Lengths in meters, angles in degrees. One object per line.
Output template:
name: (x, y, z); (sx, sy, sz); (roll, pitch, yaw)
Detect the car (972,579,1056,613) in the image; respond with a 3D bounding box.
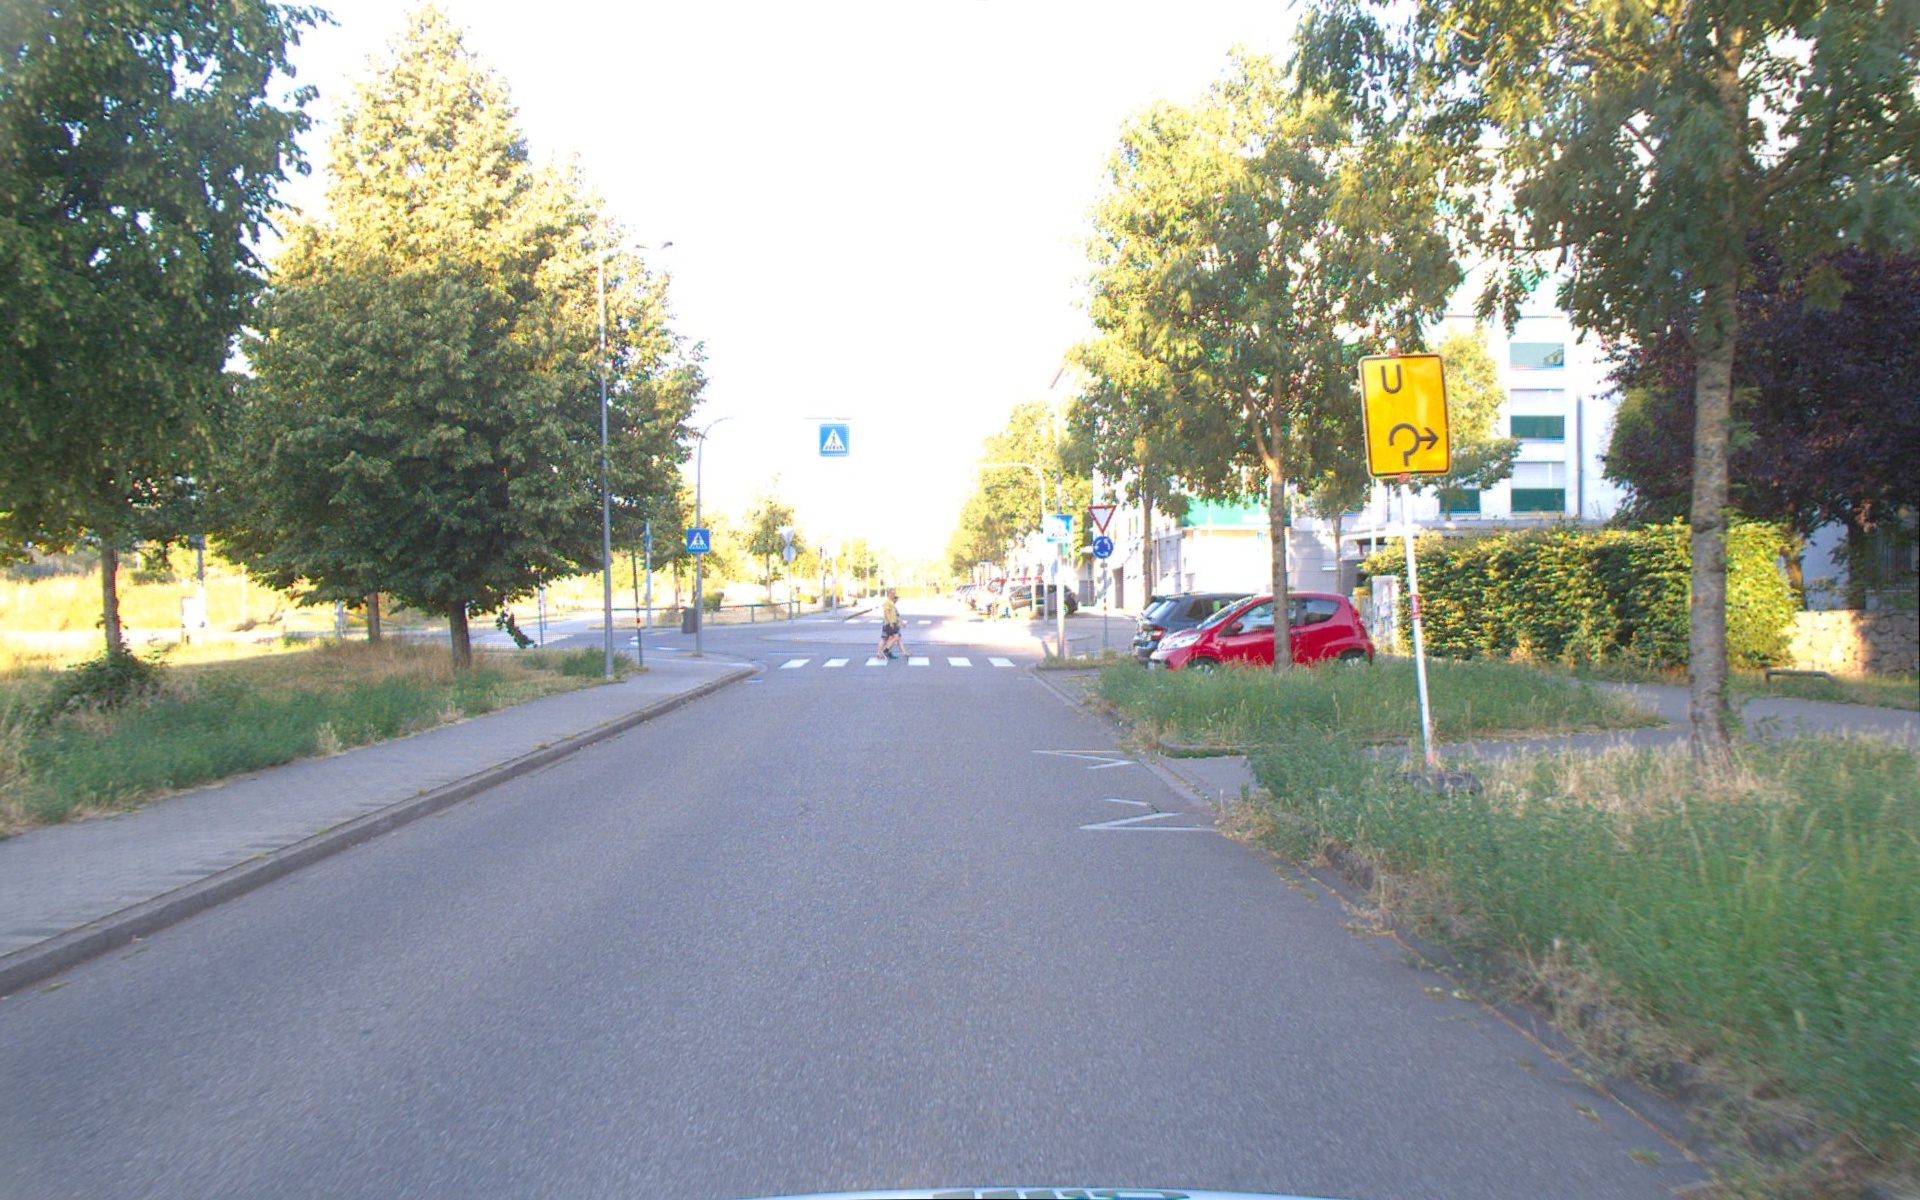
car: (2.709, -0.219, 83.505); (4.176, 1.624, 2.000); (-1, 0, 0)

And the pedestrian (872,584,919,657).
pedestrian: (-1.572, 0.489, 40.184); (1.001, 1.723, 0.757); (-1, 0, -12)

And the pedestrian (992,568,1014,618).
pedestrian: (1.803, -0.308, 68.684); (0.828, 2.049, 0.944); (-1, 0, 4)

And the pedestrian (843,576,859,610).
pedestrian: (-6.667, -0.440, 100.863); (0.851, 2.049, 0.787); (-1, 0, -12)

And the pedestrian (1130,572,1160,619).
pedestrian: (7.227, -0.172, 64.665); (0.984, 1.819, 0.761); (1, 0, -8)

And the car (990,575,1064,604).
car: (3.854, -0.624, 95.771); (4.177, 1.624, 1.999); (-1, 0, -2)

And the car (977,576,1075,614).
car: (3.001, -0.234, 75.589); (4.393, 1.624, 2.000); (-1, 0, 0)

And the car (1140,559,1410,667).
car: (4.731, 0.178, 25.150); (3.727, 1.535, 1.678); (-1, 0, -3)

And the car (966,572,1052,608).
car: (2.912, -0.598, 98.796); (4.906, 2.081, 2.248); (-1, 0, -6)

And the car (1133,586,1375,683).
car: (4.900, 0.554, 27.896); (3.727, 1.535, 1.678); (-1, 0, -3)

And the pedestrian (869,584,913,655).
pedestrian: (-1.703, 0.473, 40.904); (0.966, 1.723, 0.698); (-1, 0, -13)

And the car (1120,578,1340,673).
car: (4.963, 0.438, 30.652); (3.728, 1.534, 1.678); (-2, 3, -5)
